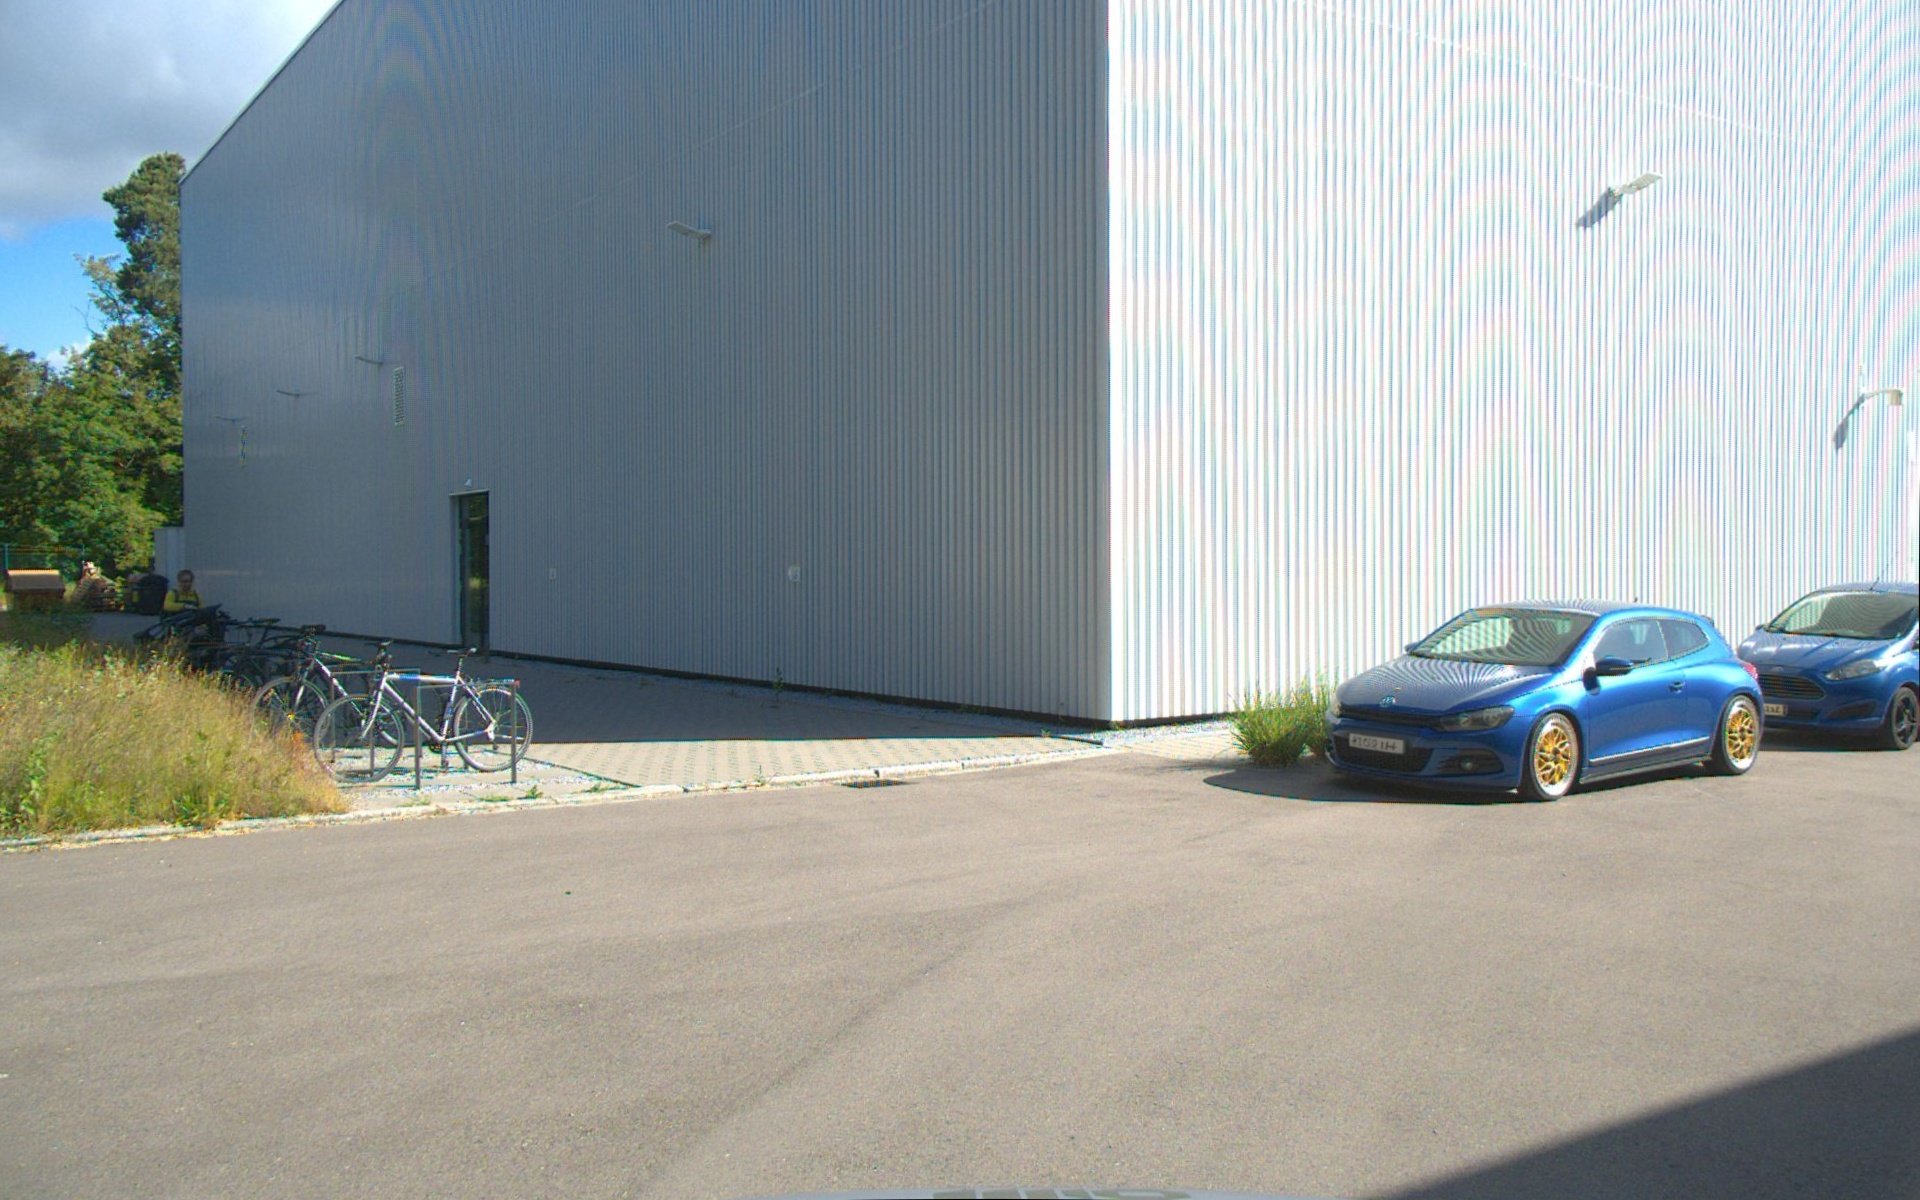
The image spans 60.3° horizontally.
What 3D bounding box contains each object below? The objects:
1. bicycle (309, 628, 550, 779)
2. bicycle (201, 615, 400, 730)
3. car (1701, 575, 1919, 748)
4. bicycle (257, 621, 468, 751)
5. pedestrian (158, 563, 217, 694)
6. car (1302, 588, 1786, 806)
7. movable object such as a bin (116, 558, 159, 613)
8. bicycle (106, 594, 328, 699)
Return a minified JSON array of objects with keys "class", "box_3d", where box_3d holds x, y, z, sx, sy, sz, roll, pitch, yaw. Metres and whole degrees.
[{"class":"bicycle","box_3d":[-4.186,0.787,13.147,1.788,1.080,0.452,-1,1,-40]},{"class":"bicycle","box_3d":[-6.921,0.739,17.416,1.873,1.114,0.519,-1,0,-37]},{"class":"car","box_3d":[9.014,0.509,16.211,3.724,1.472,1.604,-1,2,-37]},{"class":"bicycle","box_3d":[-5.517,0.771,15.320,1.776,1.101,0.519,-1,1,-34]},{"class":"pedestrian","box_3d":[-10.516,0.380,22.534,0.500,1.758,0.635,0,1,-1]},{"class":"car","box_3d":[4.621,0.638,12.883,3.910,1.373,1.653,-1,2,-36]},{"class":"movable object such as a bin","box_3d":[-31.140,-0.556,62.613,1.404,2.049,1.113,-1,1,-31]},{"class":"bicycle","box_3d":[-9.919,0.587,22.114,2.604,1.288,1.129,-1,1,-31]}]
